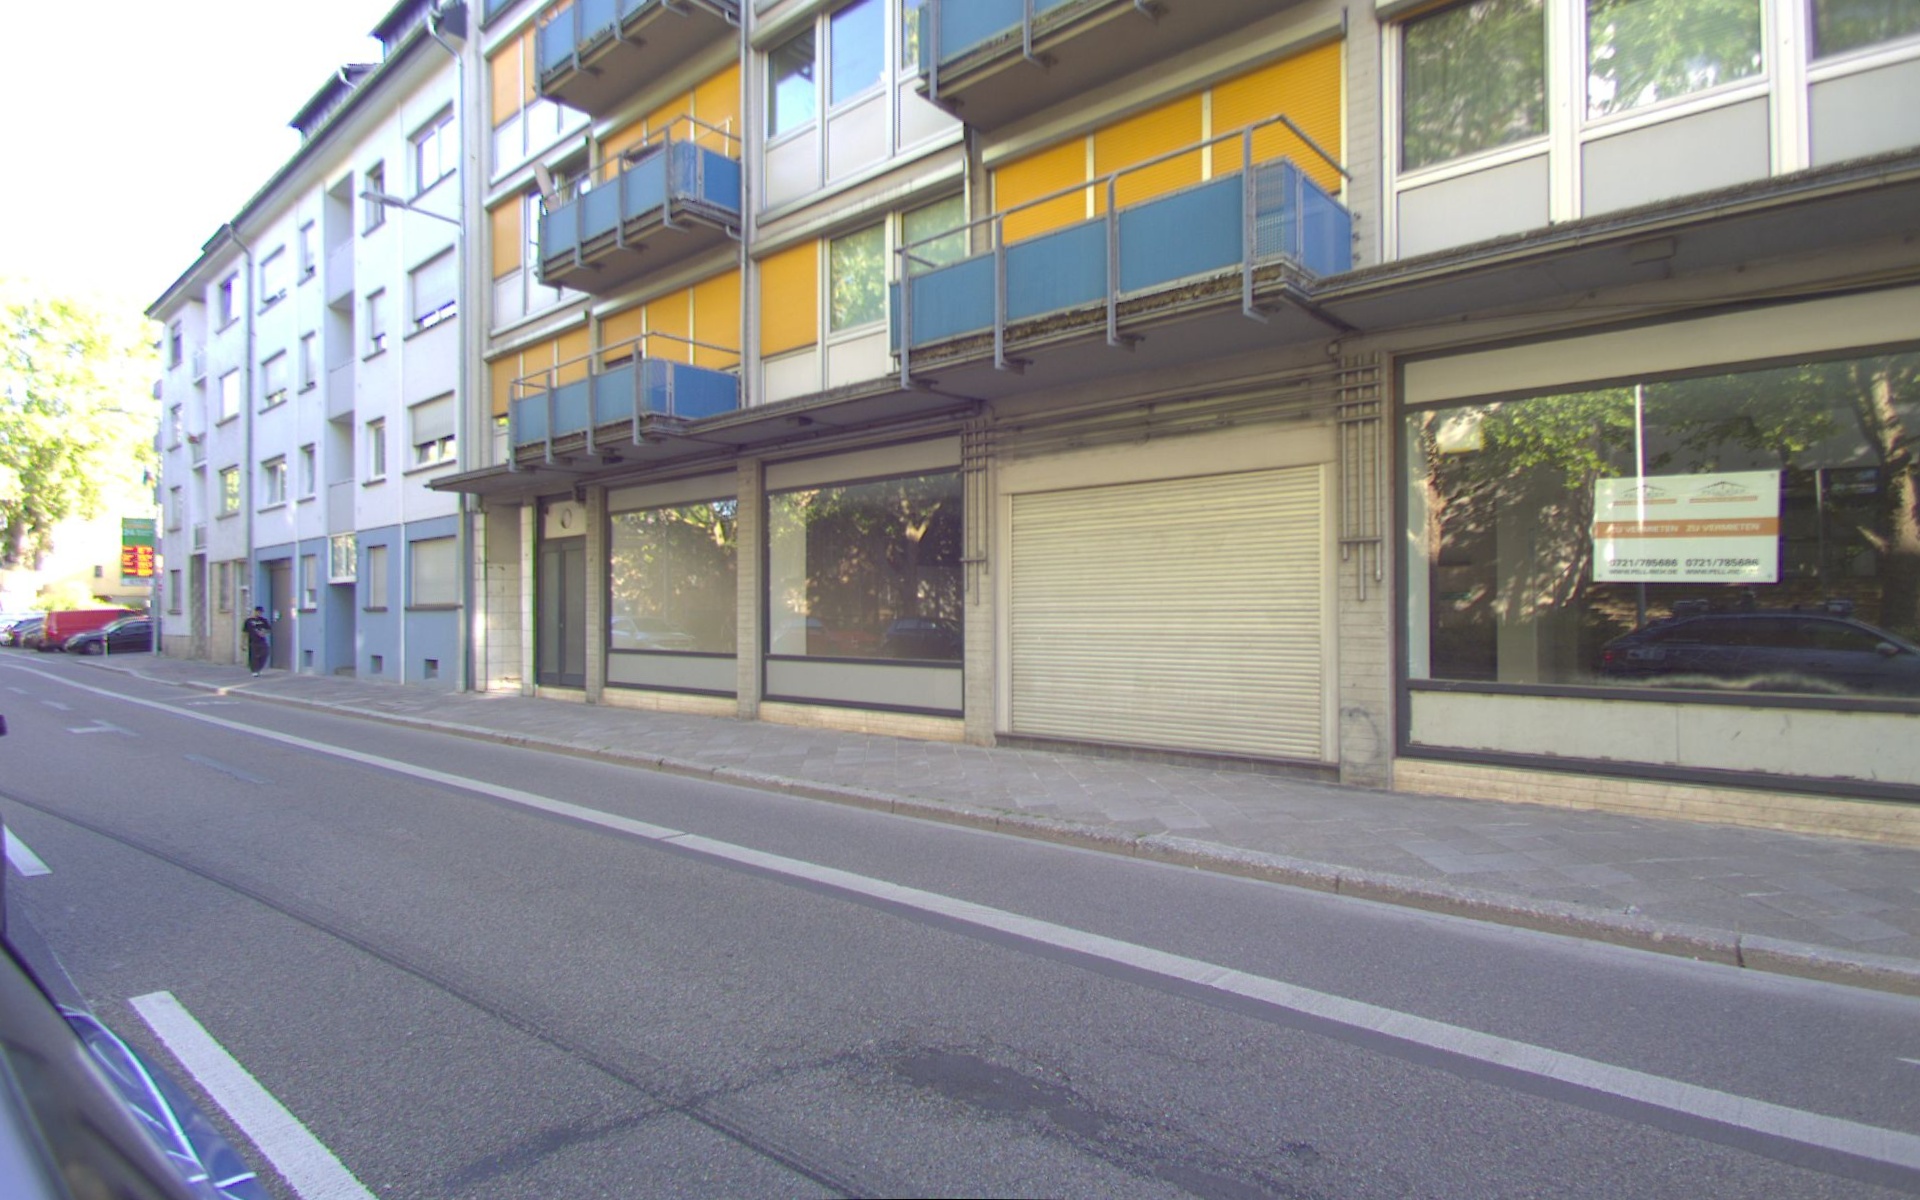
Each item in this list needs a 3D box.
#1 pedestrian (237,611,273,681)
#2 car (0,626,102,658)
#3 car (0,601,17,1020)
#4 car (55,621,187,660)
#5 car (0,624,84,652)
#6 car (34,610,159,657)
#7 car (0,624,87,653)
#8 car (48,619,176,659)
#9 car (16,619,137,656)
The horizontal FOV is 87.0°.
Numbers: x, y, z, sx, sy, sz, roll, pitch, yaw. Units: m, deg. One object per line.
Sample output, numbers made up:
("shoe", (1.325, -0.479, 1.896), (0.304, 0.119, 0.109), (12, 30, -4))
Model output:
("pedestrian", (-17.692, 1.141, 25.411), (0.655, 1.708, 0.604), (-2, -1, 41))
("car", (-50.468, 2.284, 56.118), (1.652, 1.480, 4.201), (-1, 1, 41))
("car", (-5.650, 0.793, 4.415), (4.300, 1.510, 1.826), (-1, -1, 41))
("car", (-36.499, 1.736, 44.105), (1.652, 1.411, 4.201), (-1, 1, 41))
("car", (-55.883, 2.290, 61.210), (1.652, 1.480, 4.201), (-1, 1, 41))
("car", (-40.573, 1.550, 47.631), (1.817, 1.933, 4.202), (-1, 1, 40))
("car", (-54.501, 2.270, 59.802), (1.652, 1.480, 4.201), (-1, 1, 41))
("car", (-38.192, 1.723, 45.669), (1.652, 1.480, 4.201), (-1, 1, 41))
("car", (-42.761, 1.782, 49.027), (1.652, 1.480, 4.201), (-1, 1, 41))
